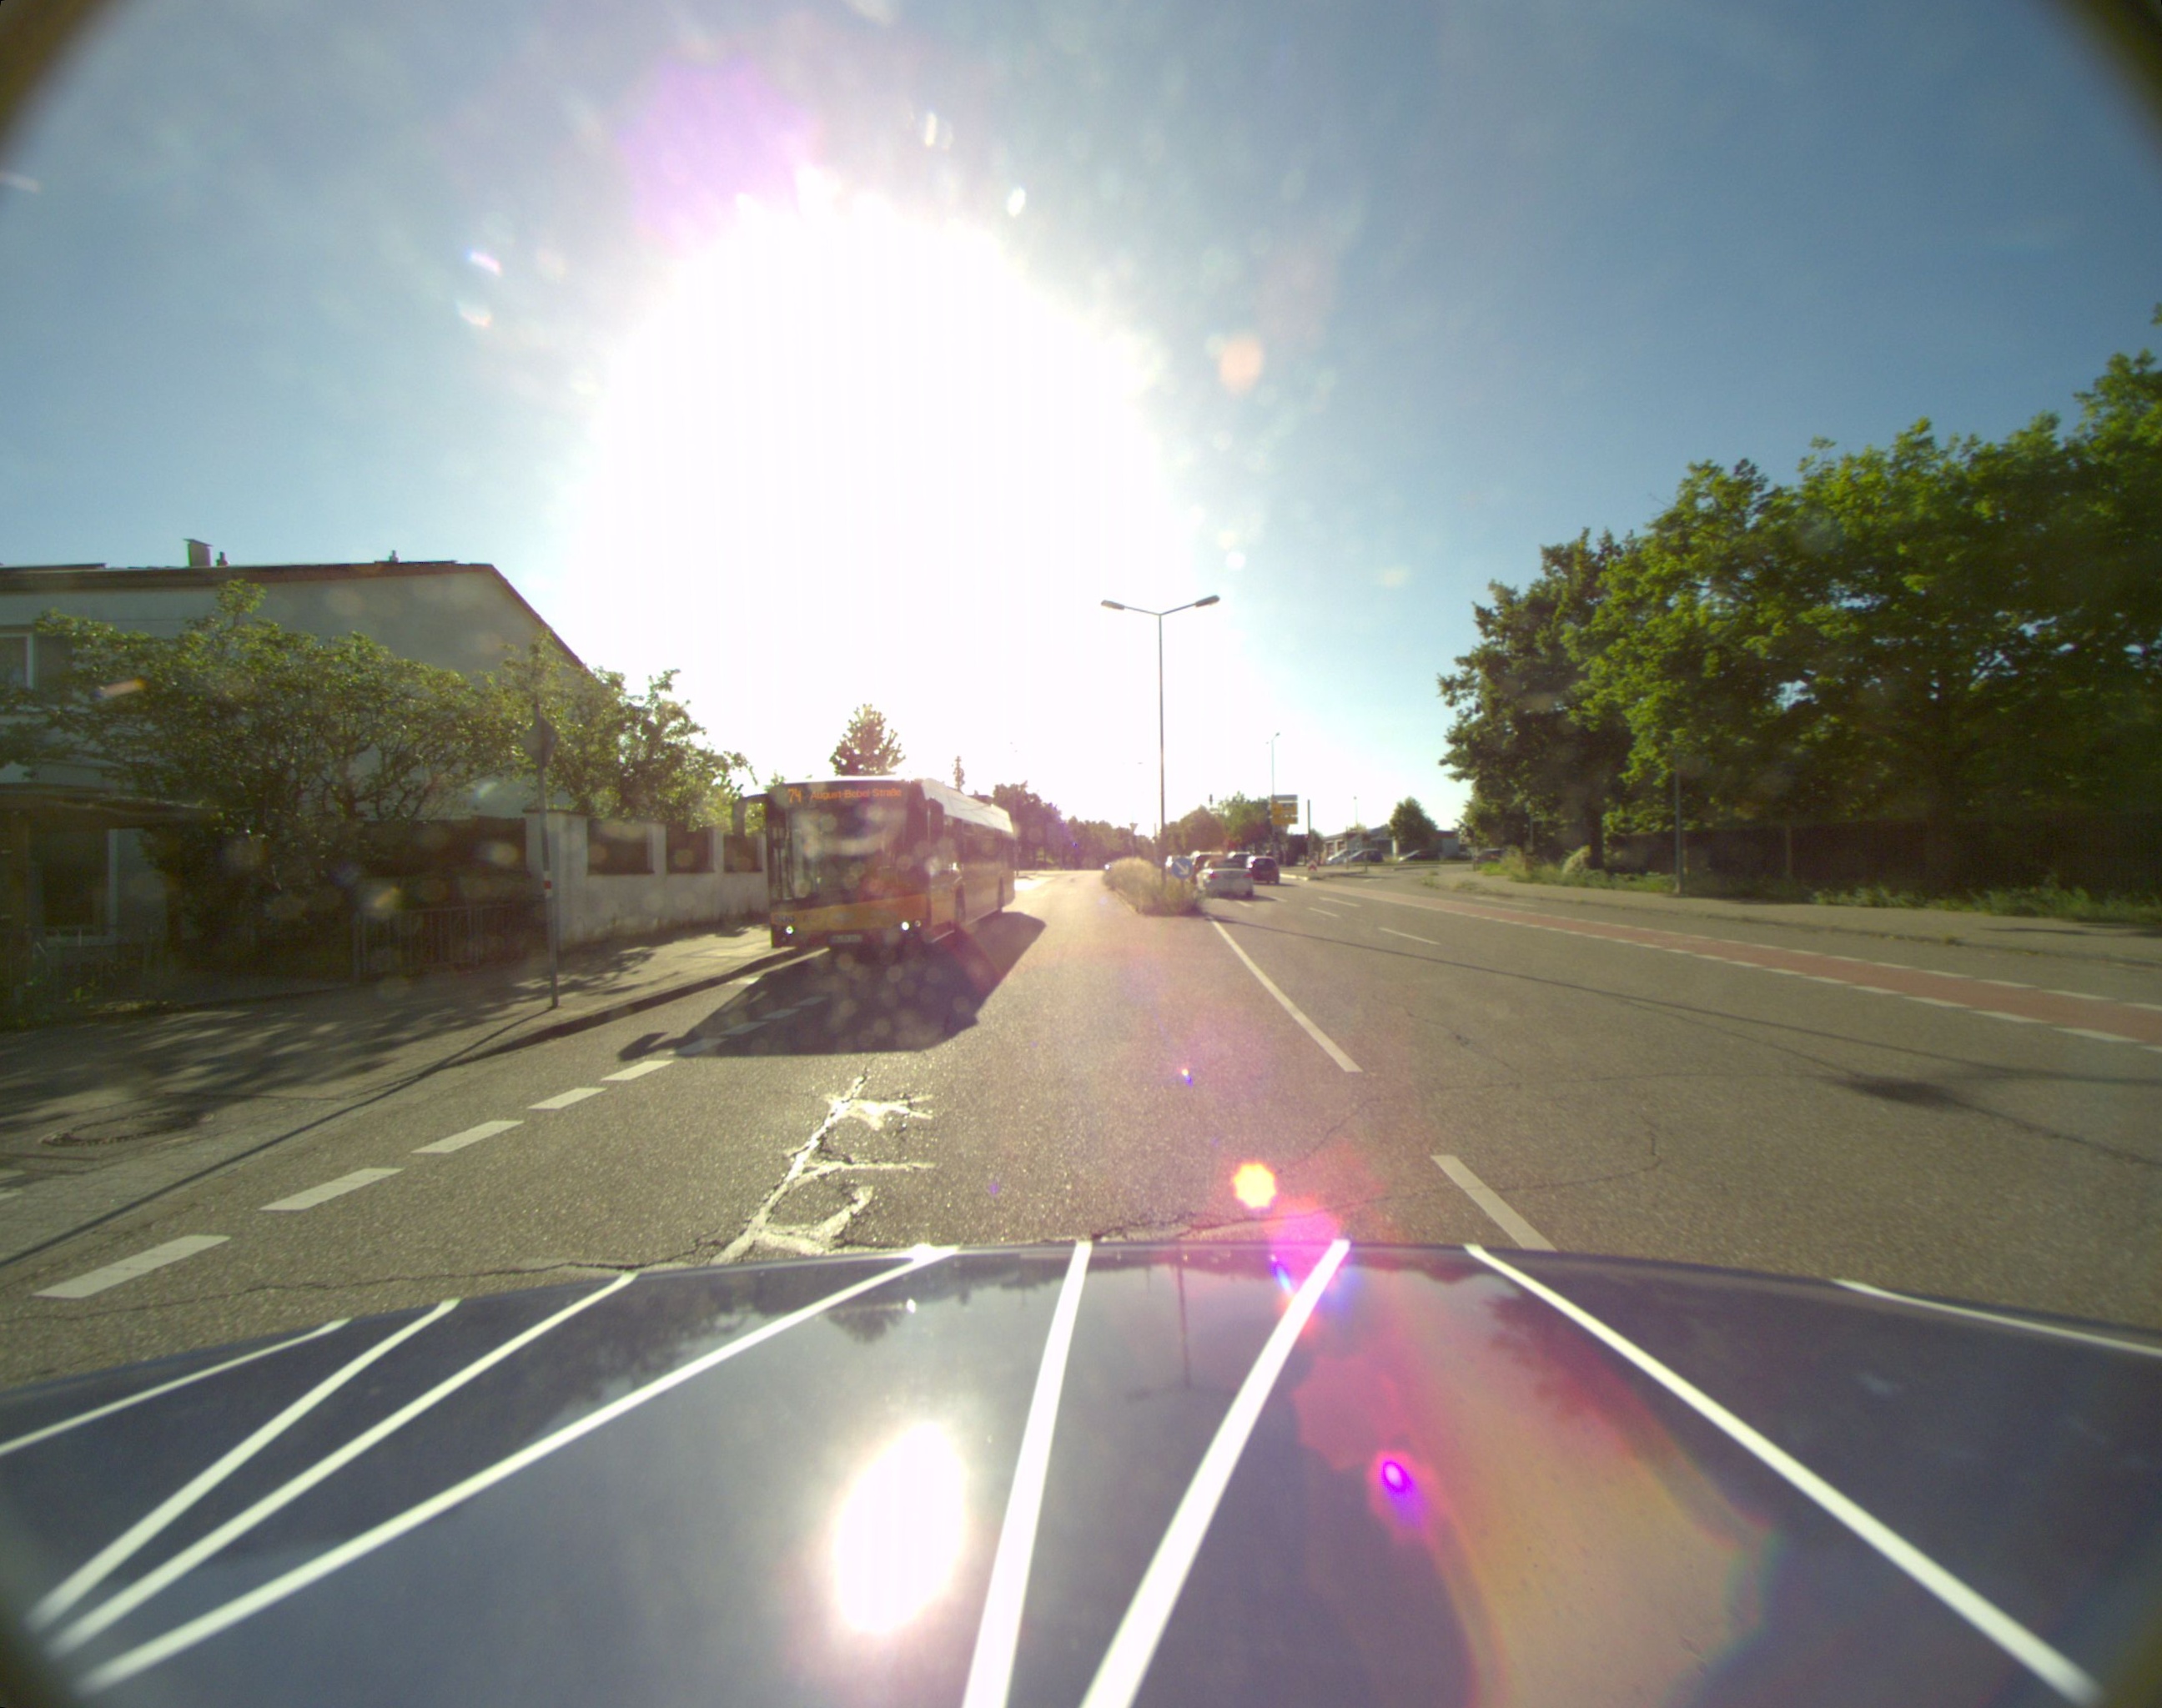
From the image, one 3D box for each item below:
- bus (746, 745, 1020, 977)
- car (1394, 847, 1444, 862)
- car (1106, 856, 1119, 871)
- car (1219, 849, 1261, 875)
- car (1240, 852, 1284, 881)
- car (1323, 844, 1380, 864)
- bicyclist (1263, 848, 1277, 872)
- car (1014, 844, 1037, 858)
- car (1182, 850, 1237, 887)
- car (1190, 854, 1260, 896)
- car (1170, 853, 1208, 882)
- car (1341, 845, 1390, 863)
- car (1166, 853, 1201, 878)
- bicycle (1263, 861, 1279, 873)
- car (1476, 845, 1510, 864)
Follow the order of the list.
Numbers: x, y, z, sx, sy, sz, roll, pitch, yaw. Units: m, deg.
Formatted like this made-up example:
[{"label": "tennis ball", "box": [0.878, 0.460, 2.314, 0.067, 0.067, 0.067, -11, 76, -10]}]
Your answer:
[{"label": "bus", "box": [-3.438, 0.020, 17.506, 2.764, 3.438, 12.396, 0, 1, 1]}, {"label": "car", "box": [32.730, 0.079, 73.681, 4.037, 1.267, 1.894, -1, -2, -1]}, {"label": "car", "box": [4.446, 1.363, 106.902, 1.729, 2.002, 4.000, -1, 0, 2]}, {"label": "car", "box": [10.291, 0.501, 49.520, 1.998, 1.634, 4.531, -1, 0, 4]}, {"label": "car", "box": [9.558, 0.643, 40.288, 1.649, 1.474, 3.714, -1, 0, 4]}, {"label": "car", "box": [28.610, 0.019, 80.508, 5.272, 2.001, 2.048, -1, -2, -1]}, {"label": "bicyclist", "box": [13.702, 0.406, 55.127, 0.746, 1.692, 1.242, -1, 0, 3]}, {"label": "car", "box": [-6.102, -0.274, 84.166, 1.776, 1.477, 4.217, 0, -1, 6]}, {"label": "car", "box": [5.884, 0.635, 35.333, 1.998, 1.606, 4.531, -1, 0, 3]}, {"label": "car", "box": [5.336, 0.732, 28.675, 1.998, 1.442, 4.400, -1, 0, 3]}, {"label": "car", "box": [5.909, 0.707, 41.747, 1.751, 1.474, 3.889, -1, 0, 4]}, {"label": "car", "box": [27.452, 0.001, 73.458, 4.037, 1.634, 1.894, -1, -2, -1]}, {"label": "car", "box": [6.361, 0.678, 47.599, 1.797, 1.497, 4.531, -1, 0, 4]}, {"label": "bicycle", "box": [13.751, 0.931, 55.099, 0.750, 0.843, 1.990, -1, 0, 3]}, {"label": "car", "box": [32.681, 0.019, 60.221, 1.710, 1.422, 4.008, 1, 1, 37]}]
